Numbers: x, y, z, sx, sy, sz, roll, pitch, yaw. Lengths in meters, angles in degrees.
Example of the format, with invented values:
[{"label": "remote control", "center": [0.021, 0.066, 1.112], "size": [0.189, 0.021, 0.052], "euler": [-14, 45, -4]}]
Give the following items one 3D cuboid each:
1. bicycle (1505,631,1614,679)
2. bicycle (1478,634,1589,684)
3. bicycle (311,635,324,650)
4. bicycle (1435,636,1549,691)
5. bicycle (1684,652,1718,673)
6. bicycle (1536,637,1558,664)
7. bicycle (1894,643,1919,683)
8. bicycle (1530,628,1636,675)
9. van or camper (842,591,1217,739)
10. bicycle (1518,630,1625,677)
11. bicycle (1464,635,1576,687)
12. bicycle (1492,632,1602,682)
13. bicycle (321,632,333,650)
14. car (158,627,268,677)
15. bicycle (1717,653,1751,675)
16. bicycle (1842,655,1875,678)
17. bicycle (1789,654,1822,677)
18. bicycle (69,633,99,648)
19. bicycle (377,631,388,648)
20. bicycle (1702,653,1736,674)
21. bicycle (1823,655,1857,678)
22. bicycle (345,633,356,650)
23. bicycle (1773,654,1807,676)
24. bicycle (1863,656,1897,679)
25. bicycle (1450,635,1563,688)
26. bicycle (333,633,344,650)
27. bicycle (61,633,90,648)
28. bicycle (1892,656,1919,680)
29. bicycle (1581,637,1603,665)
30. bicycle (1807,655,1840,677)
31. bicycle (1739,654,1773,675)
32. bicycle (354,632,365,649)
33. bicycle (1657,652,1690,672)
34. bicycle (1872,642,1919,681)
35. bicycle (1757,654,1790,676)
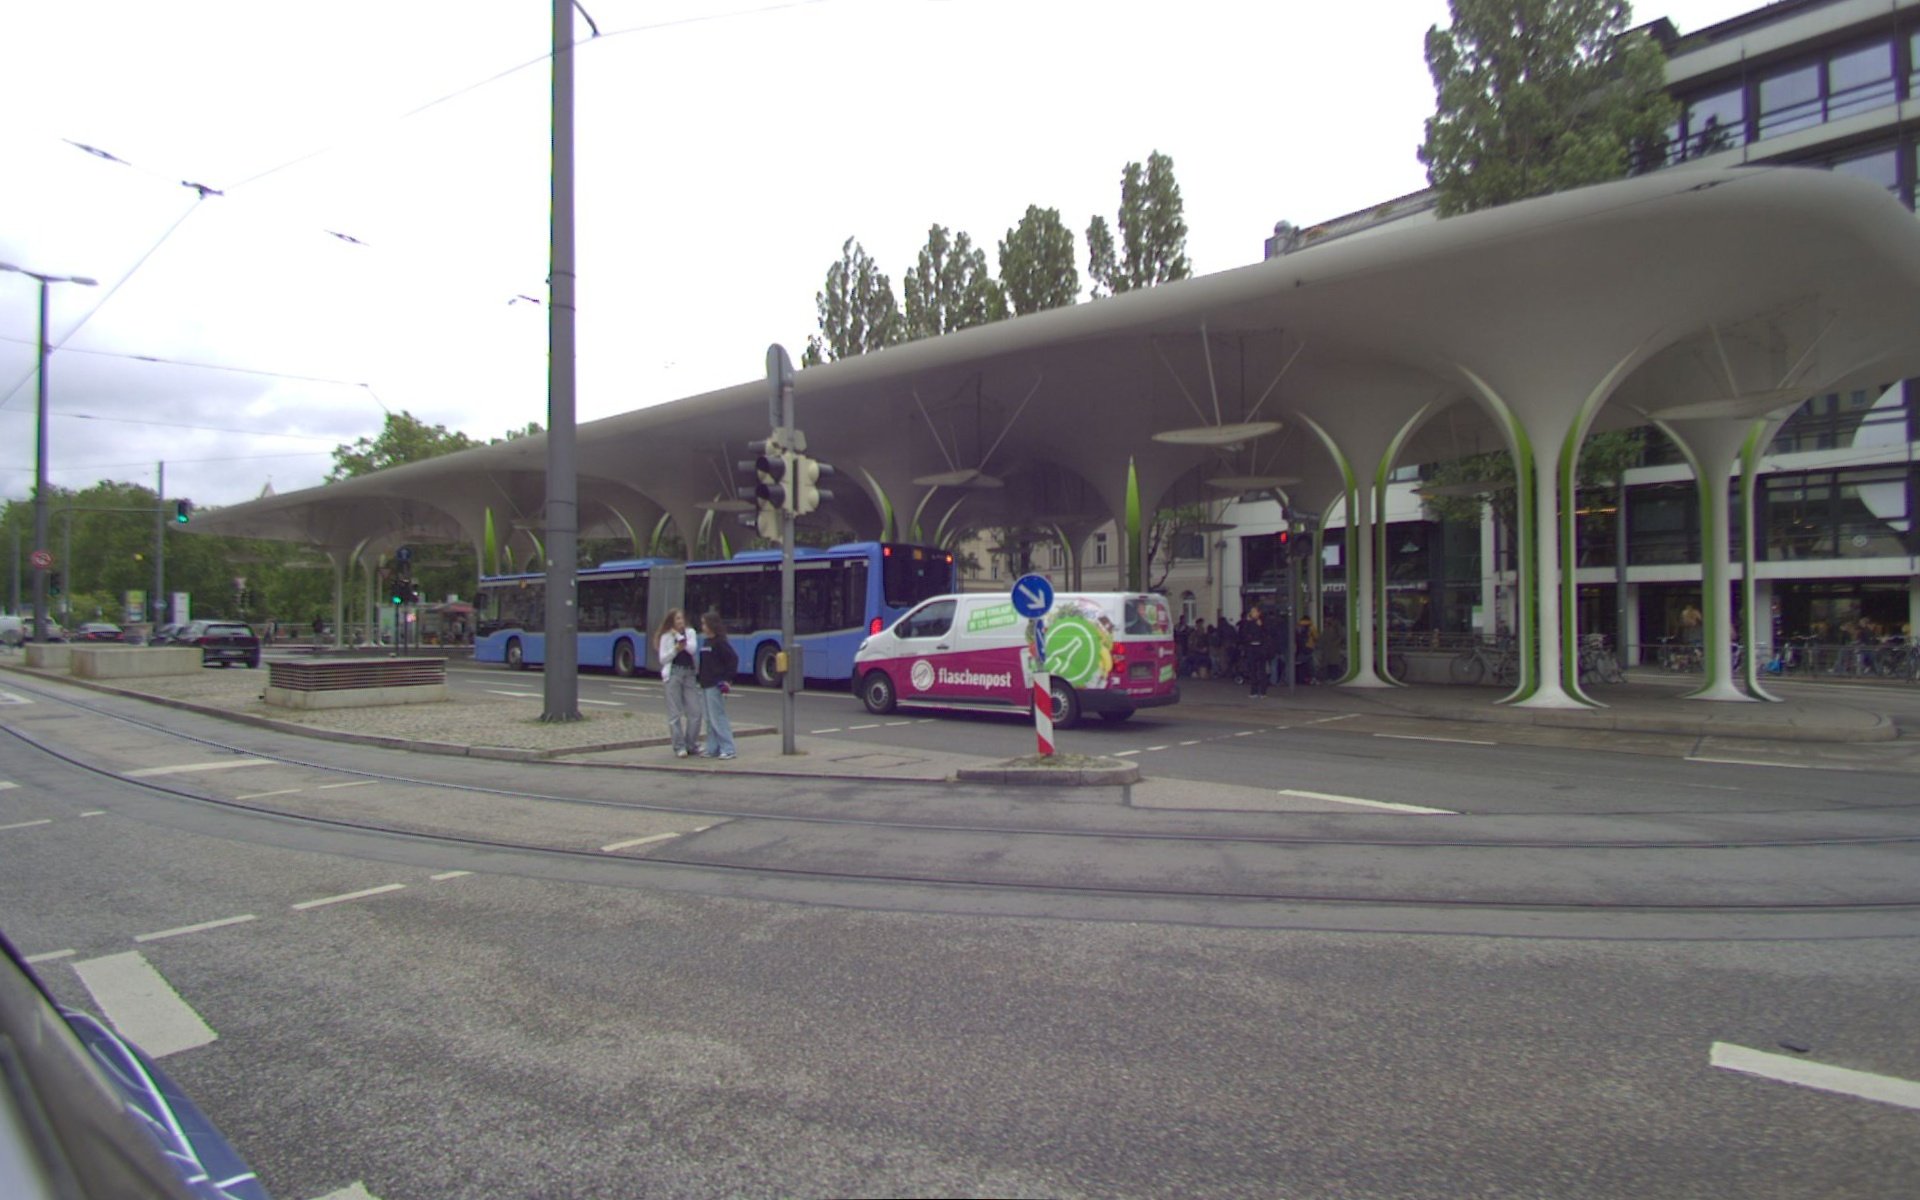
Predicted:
[{"label": "bicycle", "center": [14.644, 1.323, 24.765], "size": [0.645, 1.127, 2.186], "euler": [1, -2, -39]}, {"label": "bicycle", "center": [13.492, 1.367, 23.877], "size": [0.645, 1.127, 2.186], "euler": [1, -2, -39]}, {"label": "bicycle", "center": [-41.794, 2.761, 65.813], "size": [0.473, 0.901, 1.852], "euler": [1, -2, -41]}, {"label": "bicycle", "center": [11.867, 1.394, 22.638], "size": [0.633, 1.133, 2.169], "euler": [1, -2, -40]}, {"label": "bicycle", "center": [24.233, 2.050, 33.090], "size": [1.607, 0.637, 0.364], "euler": [1, -2, -35]}, {"label": "bicycle", "center": [21.357, 1.810, 36.809], "size": [0.449, 0.933, 1.804], "euler": [-2, -2, 38]}, {"label": "bicycle", "center": [23.907, 1.552, 24.812], "size": [1.704, 0.946, 0.455], "euler": [1, -1, -5]}, {"label": "bicycle", "center": [15.699, 1.283, 25.554], "size": [0.645, 1.127, 2.186], "euler": [1, -2, -39]}, {"label": "van or camper", "center": [0.863, 0.898, 15.024], "size": [5.432, 1.840, 1.910], "euler": [-2, -3, 38]}, {"label": "bicycle", "center": [15.170, 1.303, 25.169], "size": [0.645, 1.127, 2.186], "euler": [1, -2, -39]}, {"label": "bicycle", "center": [12.953, 1.387, 23.471], "size": [0.645, 1.127, 2.186], "euler": [1, -2, -39]}, {"label": "bicycle", "center": [14.057, 1.346, 24.296], "size": [0.645, 1.127, 2.186], "euler": [1, -2, -39]}, {"label": "bicycle", "center": [-41.365, 2.673, 66.151], "size": [0.472, 1.104, 1.853], "euler": [1, -2, -38]}, {"label": "car", "center": [-23.225, 1.561, 31.411], "size": [4.031, 1.427, 1.824], "euler": [-1, -2, 39]}, {"label": "bicycle", "center": [24.782, 2.036, 32.407], "size": [1.607, 0.637, 0.364], "euler": [1, -2, -35]}, {"label": "bicycle", "center": [26.768, 1.985, 30.143], "size": [1.607, 0.637, 0.364], "euler": [1, -2, -35]}, {"label": "bicycle", "center": [25.988, 2.004, 31.104], "size": [1.607, 0.637, 0.364], "euler": [1, -2, -35]}, {"label": "bicycle", "center": [-69.557, 3.201, 80.369], "size": [0.560, 1.181, 1.676], "euler": [-1, -2, 30]}, {"label": "bicycle", "center": [-38.845, 2.665, 68.048], "size": [0.472, 1.104, 1.854], "euler": [1, -2, -36]}, {"label": "bicycle", "center": [24.544, 2.042, 32.705], "size": [1.607, 0.637, 0.364], "euler": [1, -2, -35]}, {"label": "bicycle", "center": [26.468, 1.993, 30.427], "size": [1.607, 0.637, 0.364], "euler": [1, -2, -35]}, {"label": "bicycle", "center": [-40.350, 2.721, 67.005], "size": [0.472, 1.104, 1.854], "euler": [1, -2, -36]}, {"label": "bicycle", "center": [25.771, 2.010, 31.408], "size": [1.607, 0.637, 0.364], "euler": [1, -2, -35]}, {"label": "bicycle", "center": [27.053, 1.978, 29.746], "size": [1.607, 0.637, 0.364], "euler": [1, -2, -35]}, {"label": "bicycle", "center": [12.436, 1.373, 23.081], "size": [0.633, 1.133, 2.169], "euler": [1, -2, -40]}, {"label": "bicycle", "center": [-40.874, 2.741, 66.551], "size": [0.472, 1.104, 1.854], "euler": [1, -2, -36]}, {"label": "bicycle", "center": [-70.664, 3.235, 80.861], "size": [0.560, 1.181, 1.676], "euler": [-1, -2, 30]}, {"label": "bicycle", "center": [27.451, 1.967, 29.269], "size": [1.607, 0.637, 0.364], "euler": [1, -2, -35]}, {"label": "bicycle", "center": [22.357, 1.783, 35.796], "size": [0.449, 0.933, 1.804], "euler": [-2, -2, 38]}, {"label": "bicycle", "center": [26.257, 1.997, 30.770], "size": [1.607, 0.637, 0.364], "euler": [1, -2, -35]}, {"label": "bicycle", "center": [25.135, 2.027, 31.950], "size": [1.607, 0.637, 0.364], "euler": [1, -2, -35]}, {"label": "bicycle", "center": [-39.951, 2.706, 67.337], "size": [0.472, 1.104, 1.854], "euler": [1, -2, -36]}, {"label": "bicycle", "center": [23.770, 2.061, 33.702], "size": [1.607, 0.637, 0.364], "euler": [1, -2, -35]}, {"label": "bicycle", "center": [23.903, 1.548, 25.530], "size": [1.702, 0.946, 0.456], "euler": [1, -1, -15]}, {"label": "bicycle", "center": [25.494, 2.017, 31.711], "size": [1.607, 0.637, 0.364], "euler": [1, -2, -35]}]
